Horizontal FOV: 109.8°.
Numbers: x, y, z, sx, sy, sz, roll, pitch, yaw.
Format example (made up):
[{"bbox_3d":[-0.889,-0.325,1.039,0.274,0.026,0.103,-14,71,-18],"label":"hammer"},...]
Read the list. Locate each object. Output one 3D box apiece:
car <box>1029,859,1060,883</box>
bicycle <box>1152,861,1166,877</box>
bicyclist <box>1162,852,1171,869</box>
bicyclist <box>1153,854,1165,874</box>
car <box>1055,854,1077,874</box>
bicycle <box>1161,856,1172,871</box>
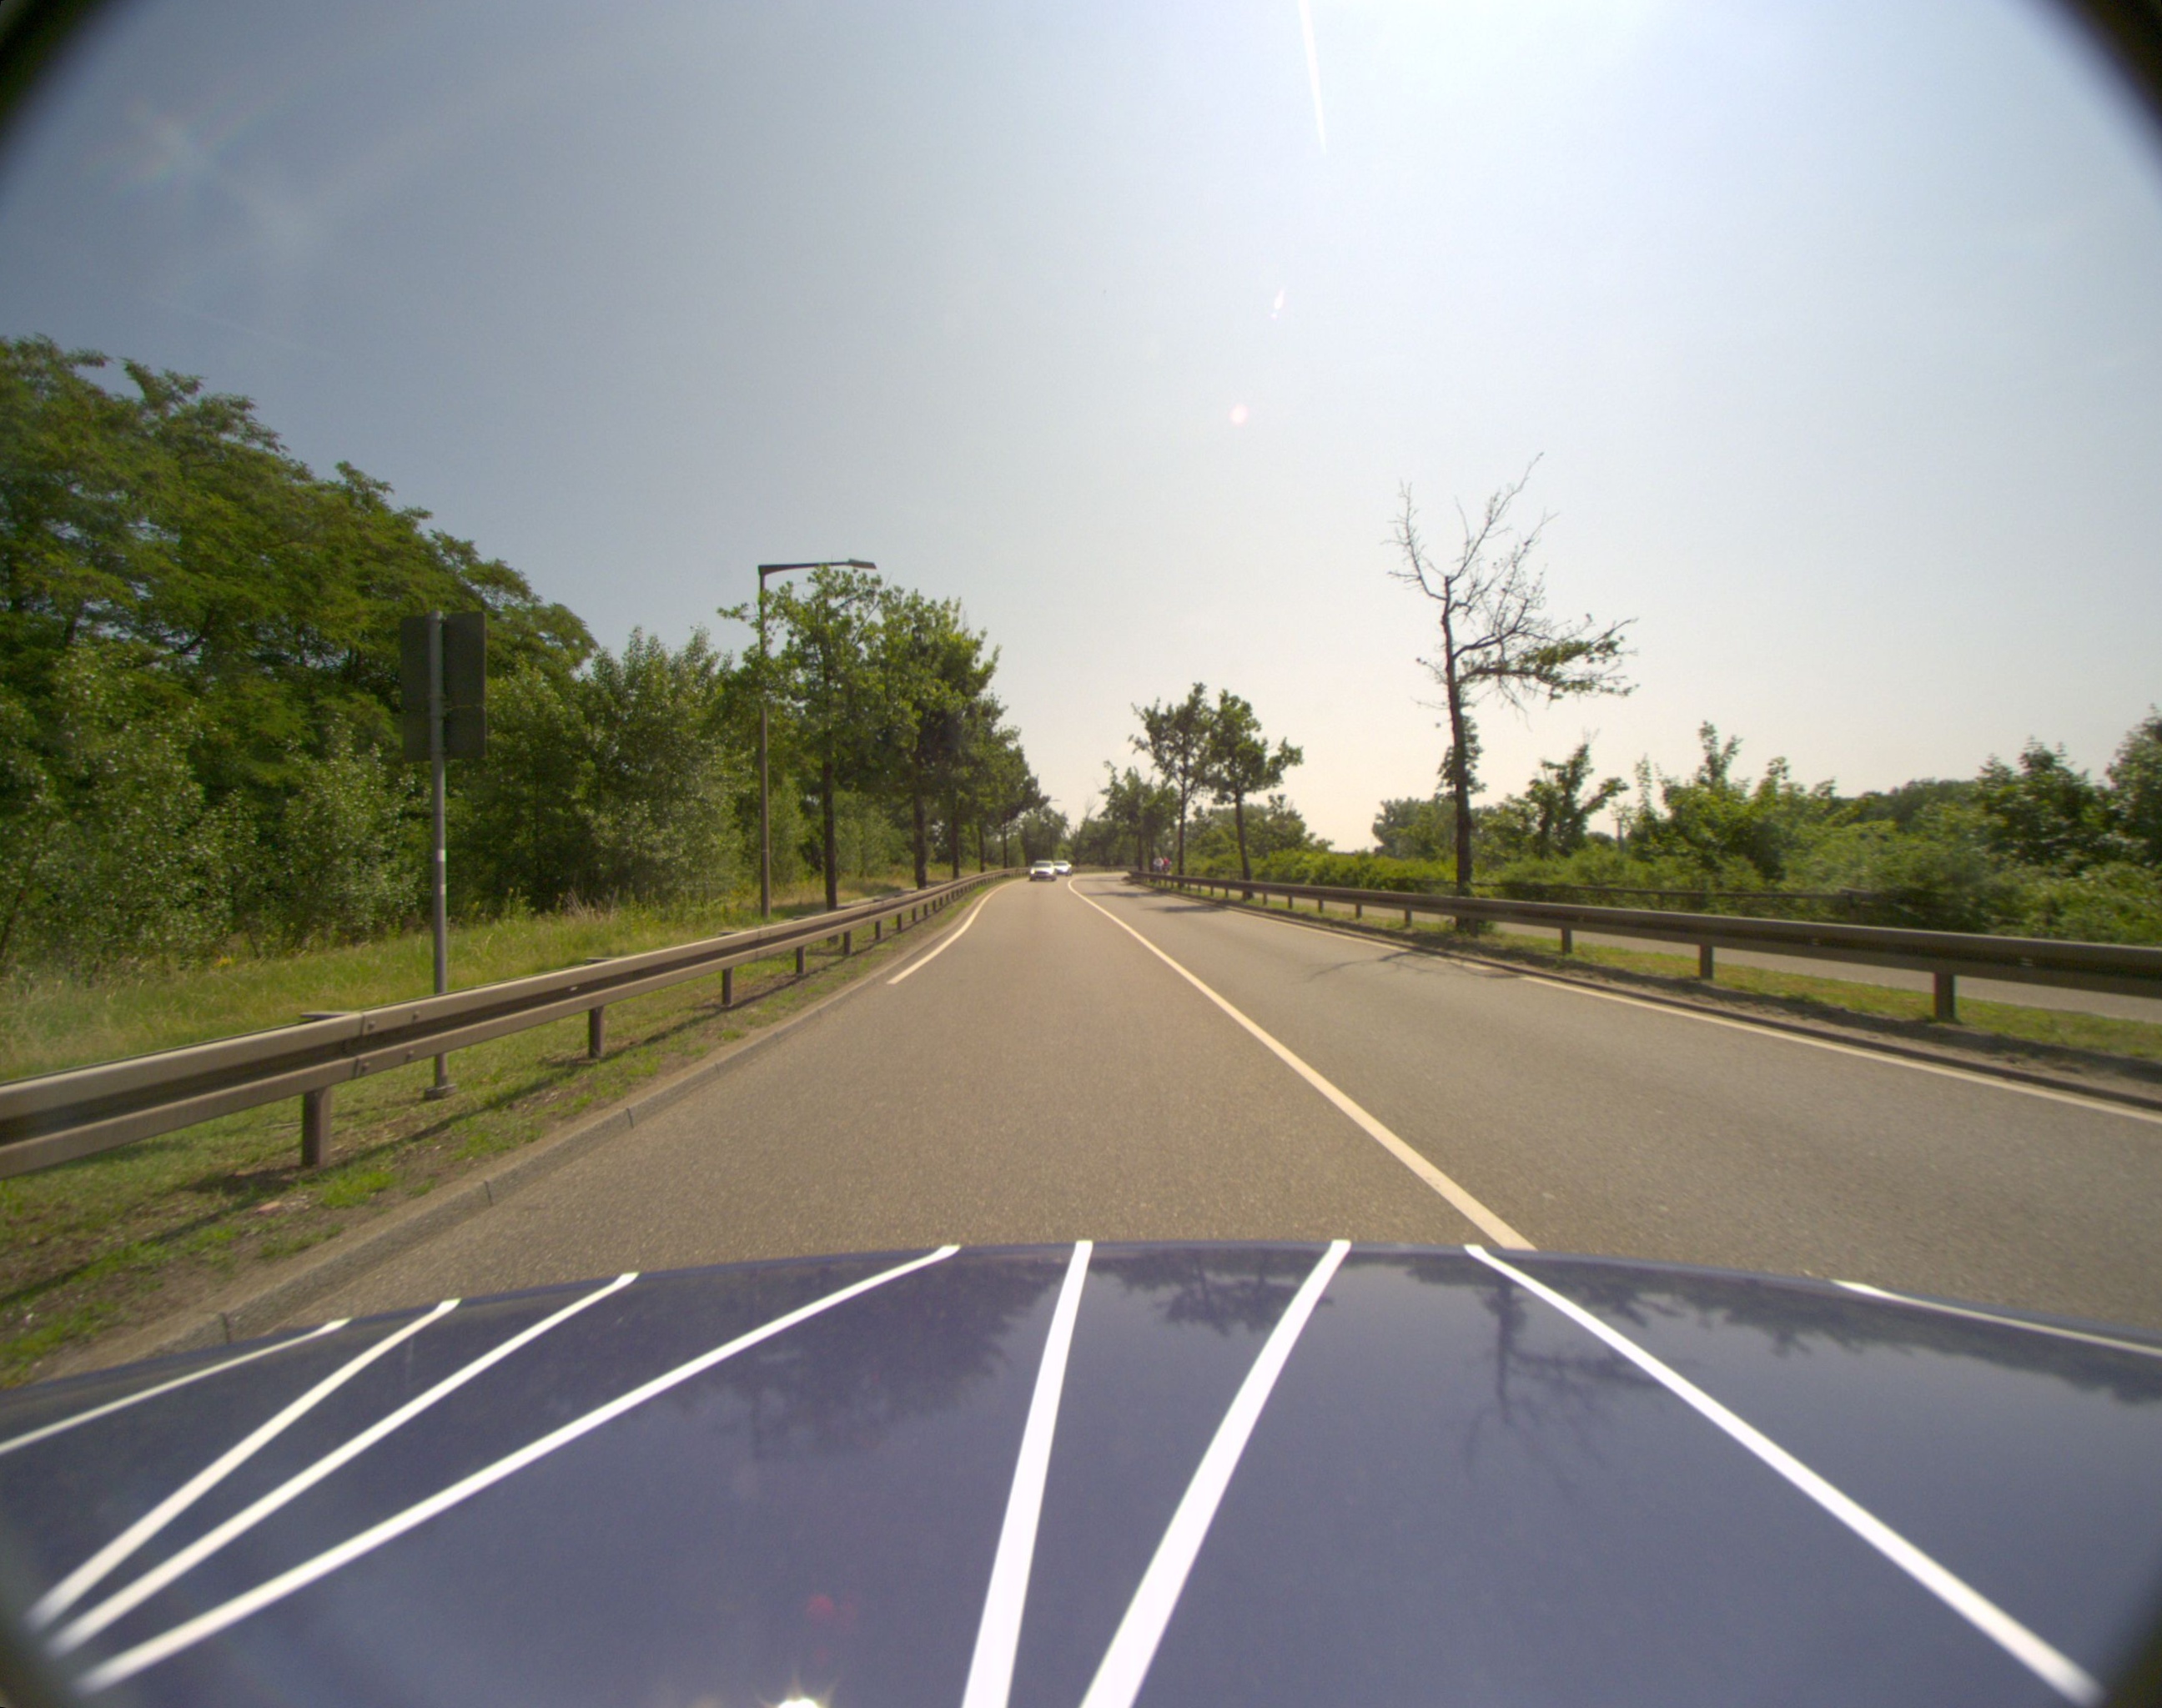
[{"bbox_3d":[-2.502,1.135,53.207,1.763,1.490,4.233,-1,1,3],"label":"car"},{"bbox_3d":[5.749,1.066,56.220,0.736,1.110,2.046,2,0,-1],"label":"bicycle"},{"bbox_3d":[7.592,0.592,67.318,0.743,1.480,0.757,0,0,12],"label":"bicyclist"},{"bbox_3d":[5.752,0.762,56.214,0.731,1.457,0.824,2,1,-2],"label":"bicyclist"},{"bbox_3d":[-1.403,0.907,71.854,1.798,1.772,4.294,0,0,3],"label":"car"},{"bbox_3d":[7.584,0.832,67.128,0.735,1.274,2.048,0,0,13],"label":"bicycle"}]
